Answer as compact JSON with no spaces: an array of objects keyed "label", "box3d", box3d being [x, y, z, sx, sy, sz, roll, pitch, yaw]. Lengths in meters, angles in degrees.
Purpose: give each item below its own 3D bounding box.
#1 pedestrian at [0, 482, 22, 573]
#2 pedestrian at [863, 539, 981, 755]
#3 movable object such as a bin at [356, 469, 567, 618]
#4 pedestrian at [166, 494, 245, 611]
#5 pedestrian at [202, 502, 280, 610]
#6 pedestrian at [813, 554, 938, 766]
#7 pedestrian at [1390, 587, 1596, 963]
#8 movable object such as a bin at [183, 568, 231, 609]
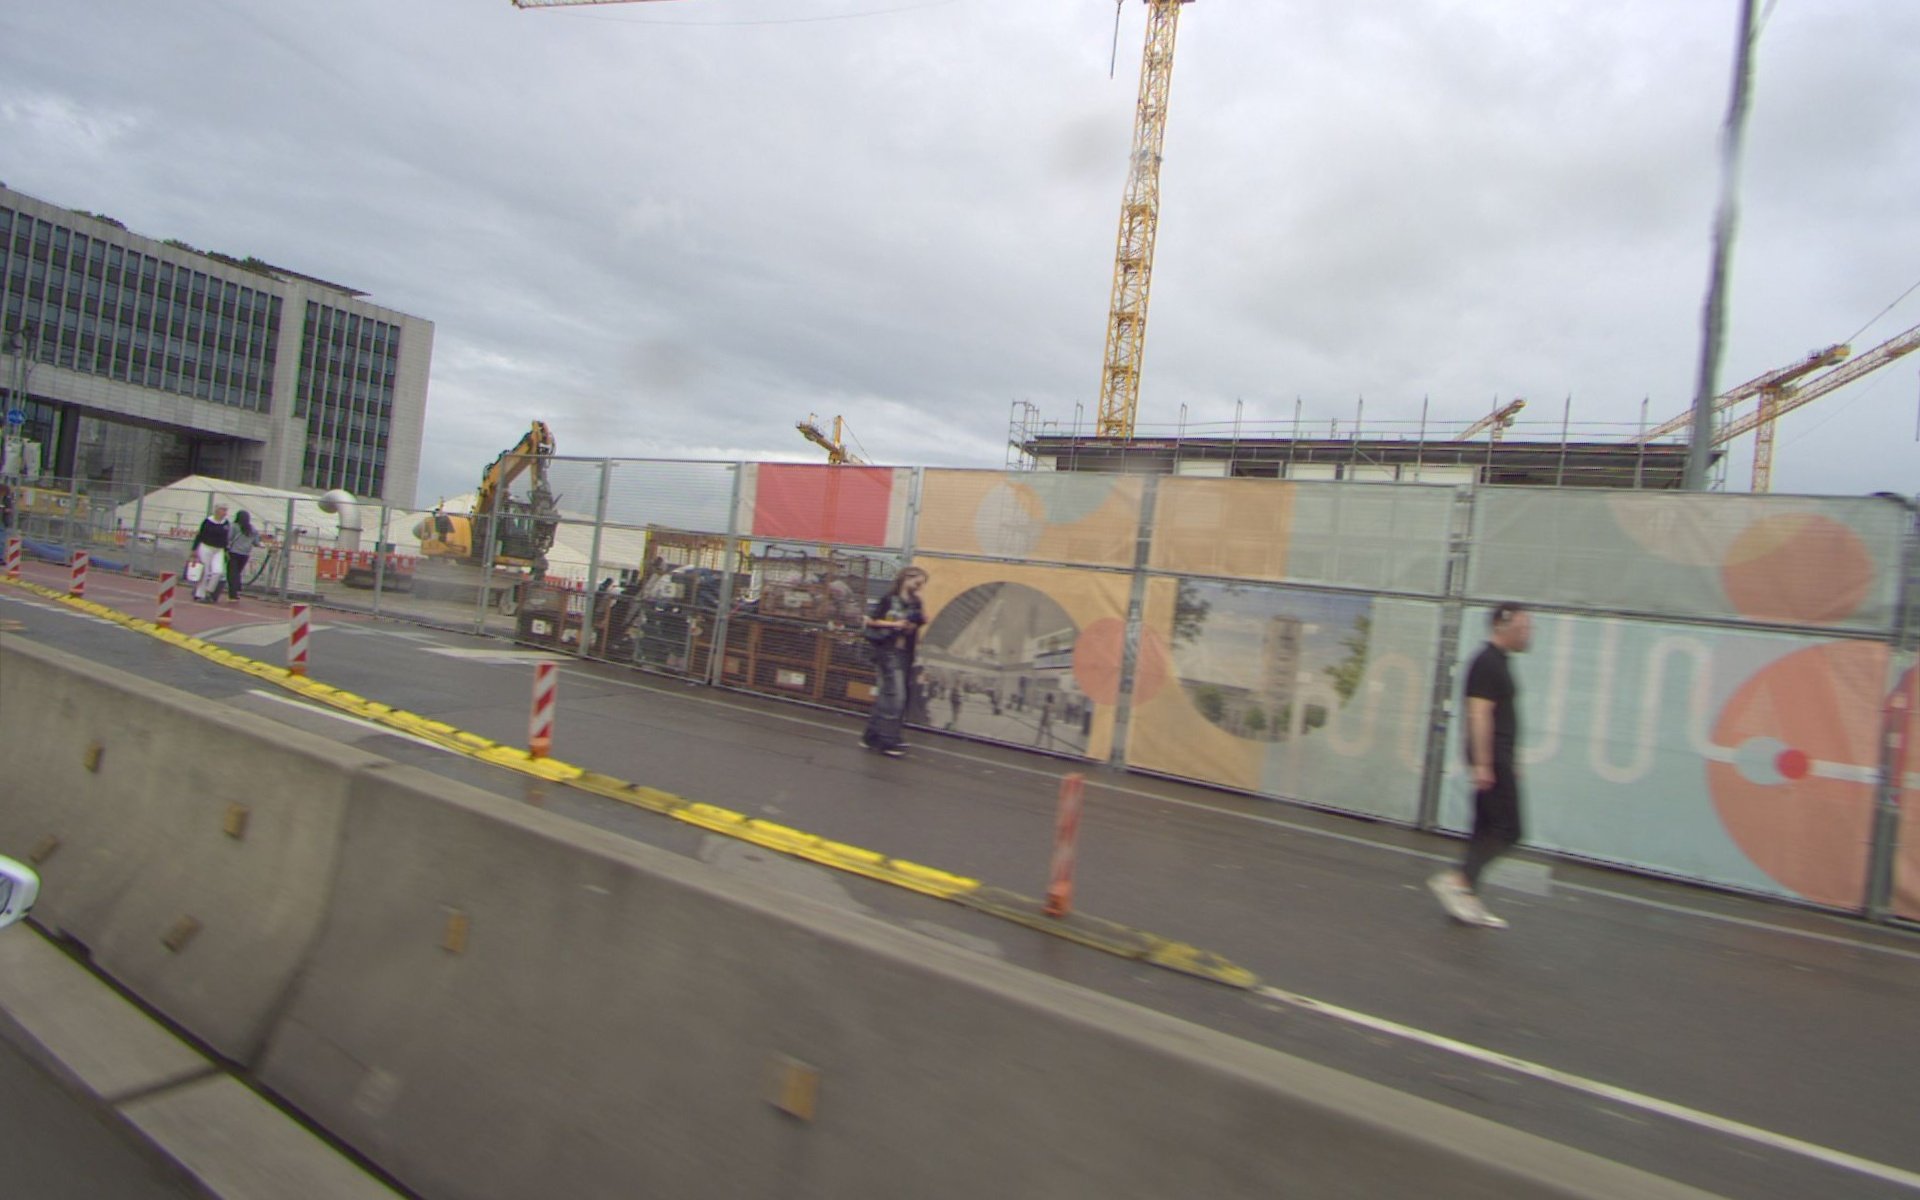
[{"label":"pedestrian","box3d":[-20.691,-1.581,21.390,0.797,1.883,0.691,7,-1,26]},{"label":"pedestrian","box3d":[-0.377,0.474,10.113,0.675,2.038,0.680,8,0,32]},{"label":"movable object such as a bin","box3d":[-14.261,-1.573,28.774,4.299,3.534,3.921,6,-1,44]},{"label":"pedestrian","box3d":[-12.897,-0.802,17.196,0.671,1.883,0.666,7,-1,26]},{"label":"pedestrian","box3d":[-13.478,-0.816,18.875,0.671,1.883,0.789,7,-1,26]},{"label":"pedestrian","box3d":[-0.782,0.560,9.424,0.616,1.855,0.797,6,-1,32]},{"label":"pedestrian","box3d":[3.072,0.944,5.788,0.806,1.899,0.797,6,-1,32]},{"label":"movable object such as a bin","box3d":[-13.278,-0.199,17.744,0.525,0.632,0.434,7,-1,26]}]
